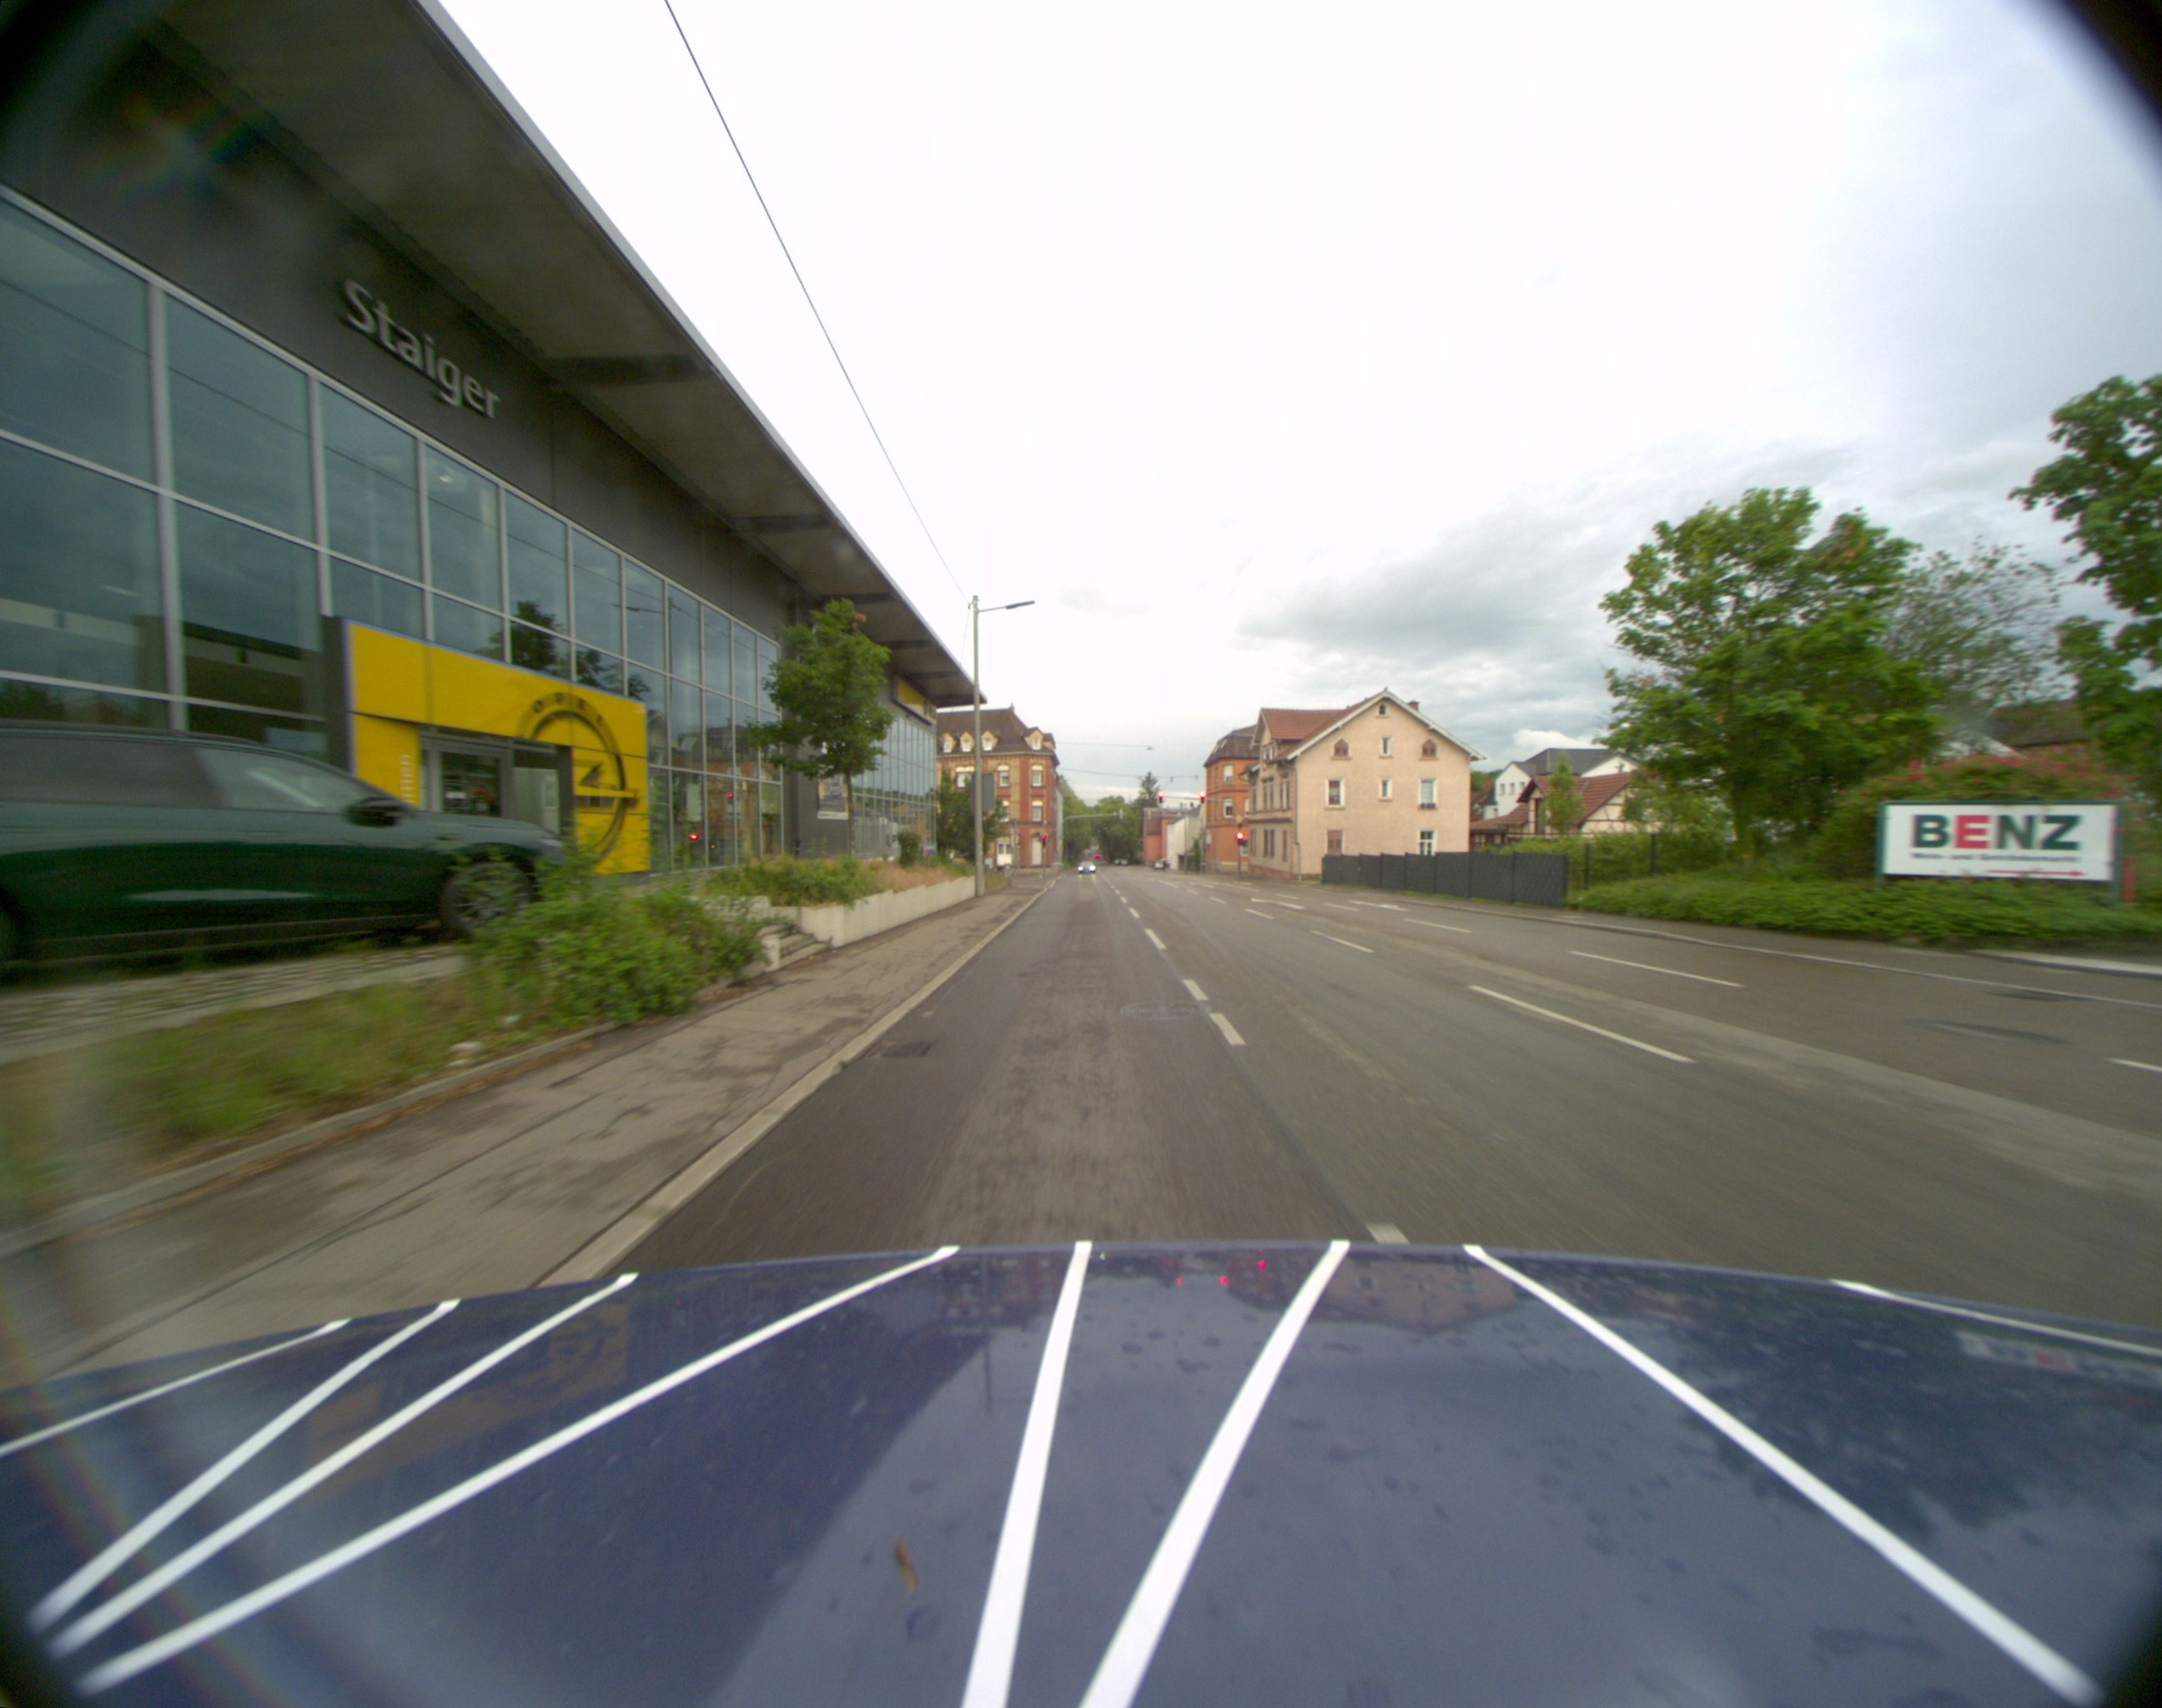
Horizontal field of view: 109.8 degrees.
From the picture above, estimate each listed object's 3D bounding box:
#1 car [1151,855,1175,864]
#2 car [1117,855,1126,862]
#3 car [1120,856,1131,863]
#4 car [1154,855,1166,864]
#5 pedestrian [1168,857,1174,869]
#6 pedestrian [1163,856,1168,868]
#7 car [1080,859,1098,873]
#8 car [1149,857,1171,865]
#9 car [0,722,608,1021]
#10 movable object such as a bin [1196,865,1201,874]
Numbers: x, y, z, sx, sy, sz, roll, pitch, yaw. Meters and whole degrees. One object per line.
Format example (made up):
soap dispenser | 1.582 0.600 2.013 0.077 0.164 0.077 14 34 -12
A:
car | 16.212 1.017 150.014 4.542 1.599 2.153 -2 0 3
car | 9.178 1.086 173.262 1.816 1.537 4.198 3 0 0
car | 9.487 1.193 162.160 1.789 1.402 4.197 2 0 -2
car | 13.542 0.917 129.995 1.749 1.499 4.178 0 0 1
pedestrian | 12.984 1.239 109.722 0.642 1.696 0.911 -1 0 2
pedestrian | 12.236 1.208 109.695 0.642 1.696 0.911 -1 0 2
car | 0.863 1.304 82.703 1.842 1.403 4.000 0 0 1
car | 15.879 1.307 152.524 4.171 1.425 2.000 -2 0 3
car | -6.481 0.054 5.830 1.994 1.701 4.436 2 2 27
movable object such as a bin | 13.672 1.806 88.545 0.410 0.919 0.525 -1 1 -6
